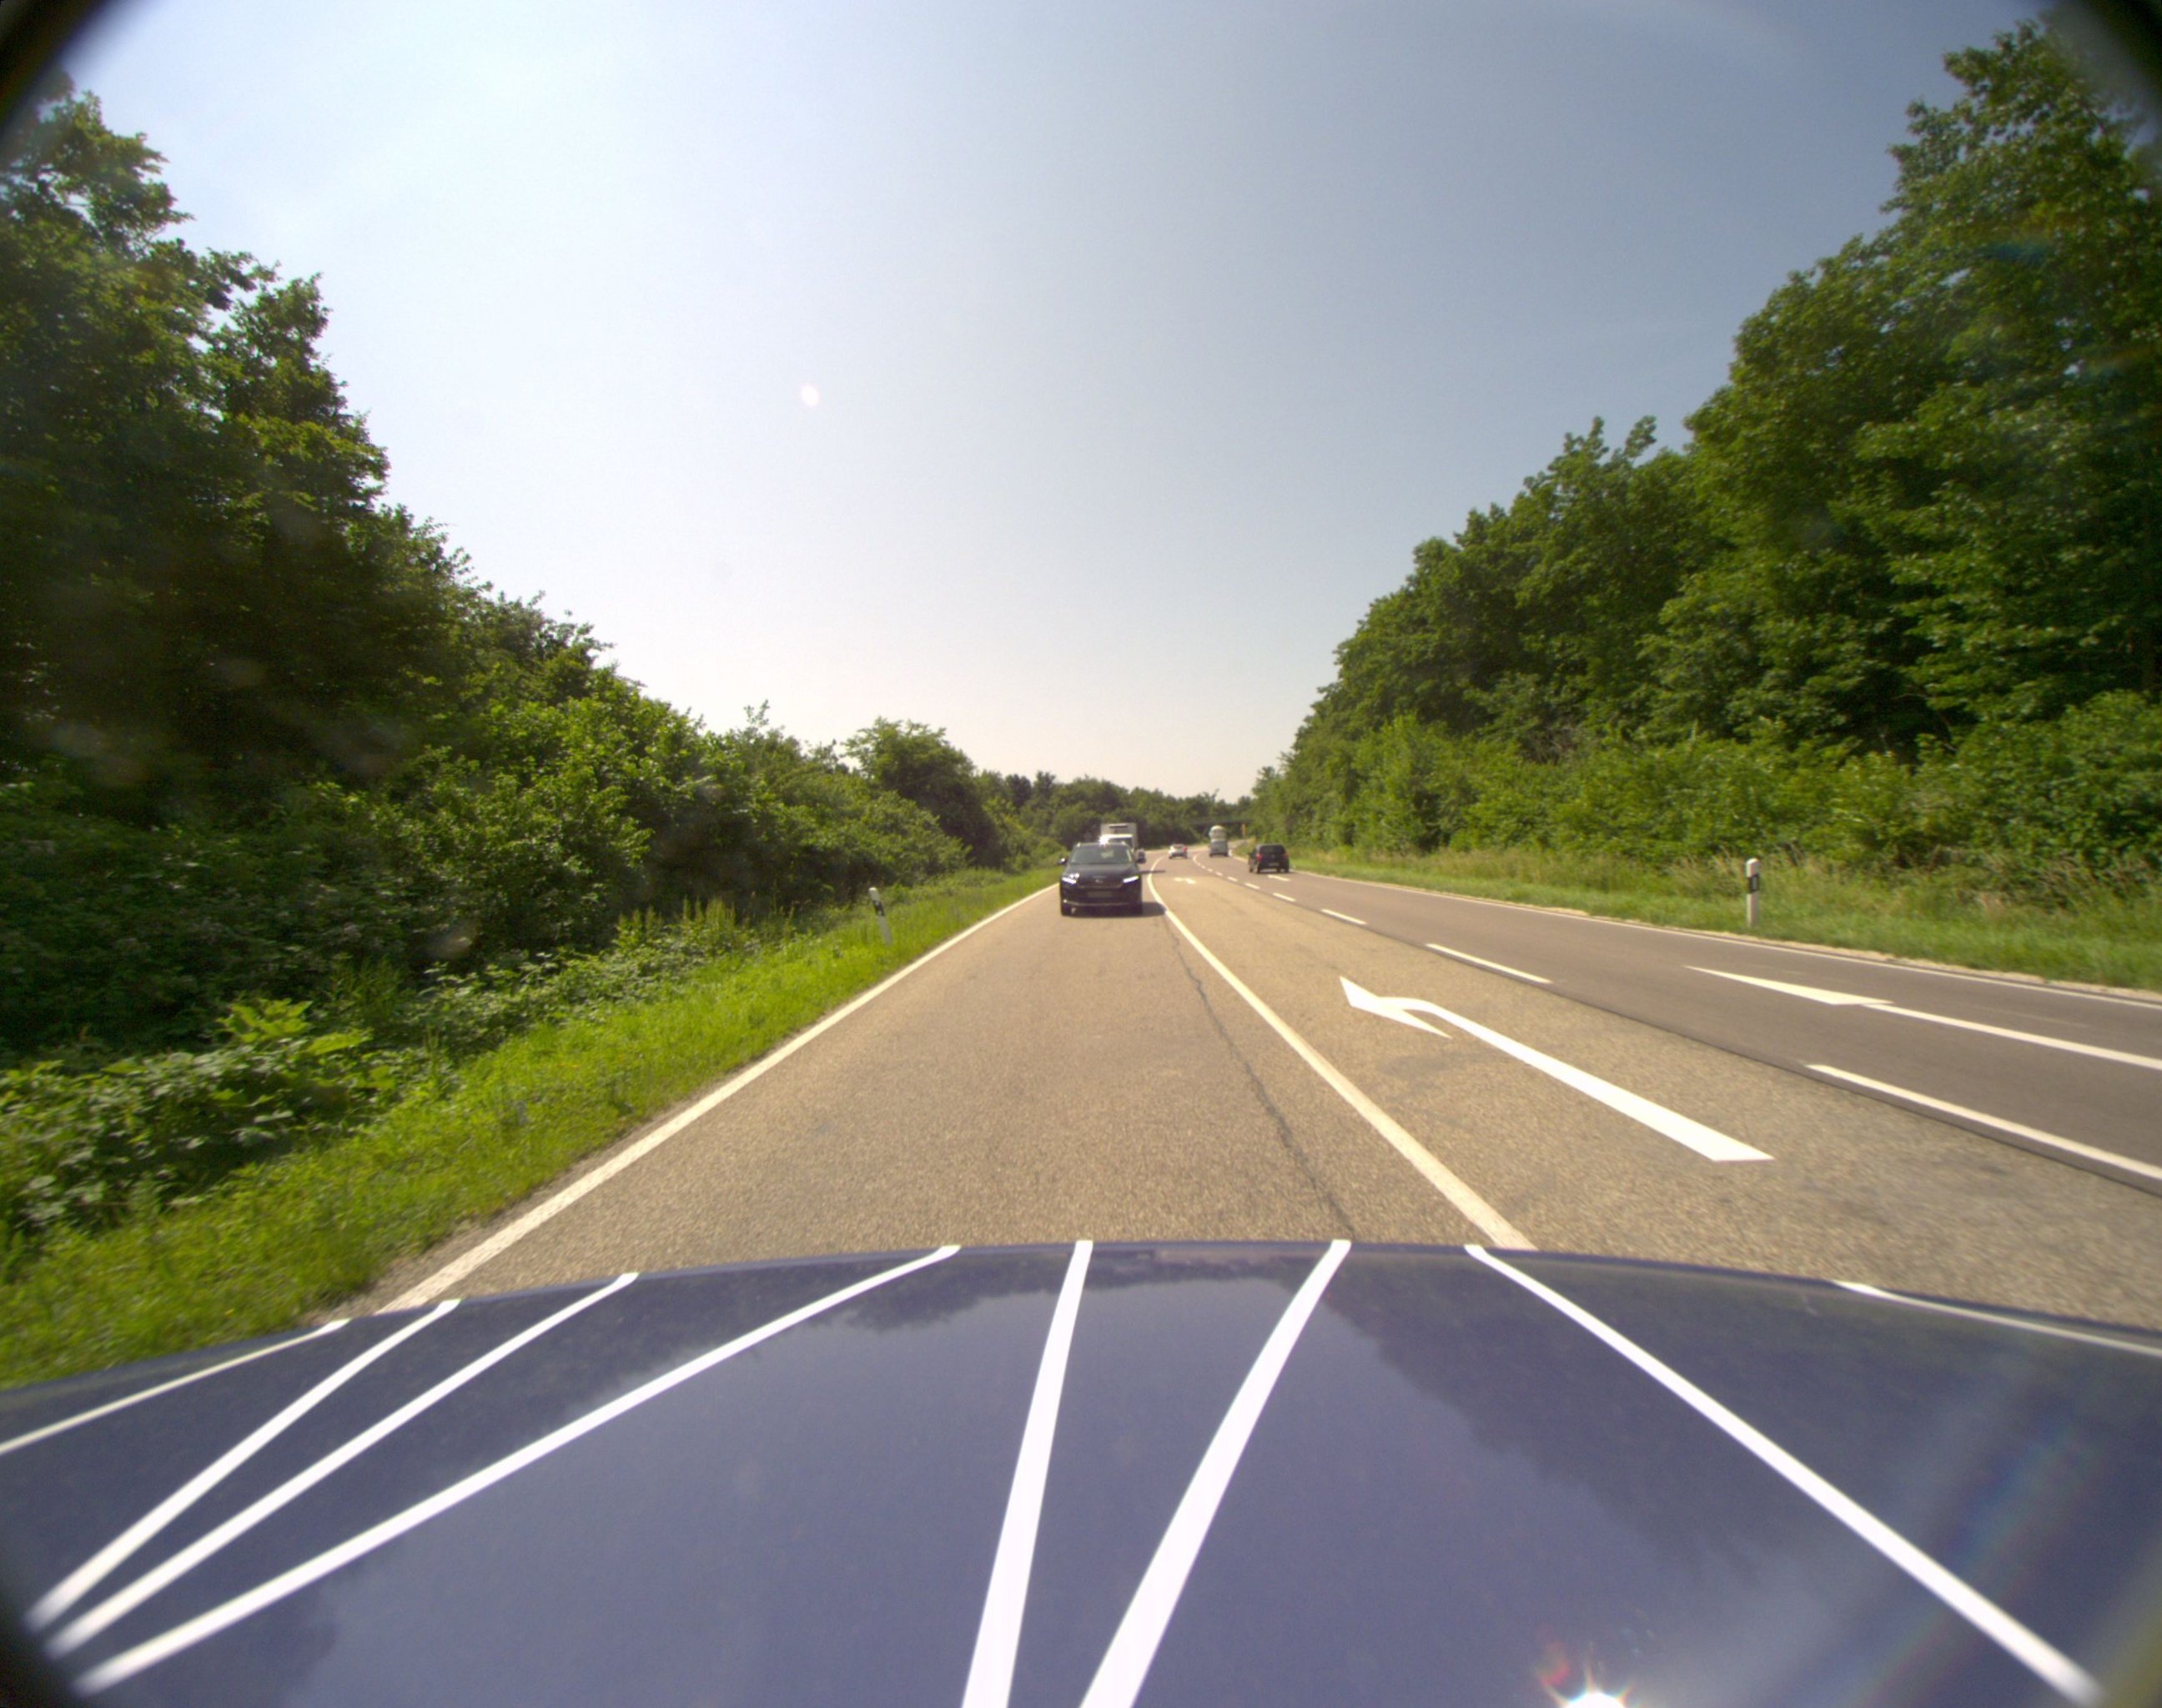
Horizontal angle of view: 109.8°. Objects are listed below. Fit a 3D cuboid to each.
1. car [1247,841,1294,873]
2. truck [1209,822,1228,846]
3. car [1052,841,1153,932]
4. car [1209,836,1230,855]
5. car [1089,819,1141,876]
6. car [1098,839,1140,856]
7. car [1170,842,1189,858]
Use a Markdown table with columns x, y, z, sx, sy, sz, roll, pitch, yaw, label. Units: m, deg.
| x | y | z | sx | sy | sz | roll | pitch | yaw | label |
| --- | --- | --- | --- | --- | --- | --- | --- | --- | --- |
| 9.482 | 0.117 | 38.275 | 1.618 | 1.493 | 3.553 | -2 | 1 | 3 | car |
| 22.434 | -3.296 | 123.492 | 2.631 | 3.650 | 8.802 | -2 | 1 | 12 | truck |
| 0.490 | 0.597 | 17.683 | 1.924 | 1.711 | 5.478 | -2 | 1 | 1 | car |
| 14.184 | -0.889 | 77.989 | 1.846 | 1.769 | 4.895 | -2 | 1 | 7 | car |
| 2.144 | -0.477 | 45.177 | 2.591 | 3.047 | 6.882 | -2 | 2 | 5 | car |
| 4.950 | -0.880 | 99.860 | 5.229 | 1.896 | 2.011 | -3 | 2 | -8 | car |
| 9.912 | -0.452 | 76.048 | 1.711 | 1.411 | 4.099 | -2 | 2 | 9 | car |
